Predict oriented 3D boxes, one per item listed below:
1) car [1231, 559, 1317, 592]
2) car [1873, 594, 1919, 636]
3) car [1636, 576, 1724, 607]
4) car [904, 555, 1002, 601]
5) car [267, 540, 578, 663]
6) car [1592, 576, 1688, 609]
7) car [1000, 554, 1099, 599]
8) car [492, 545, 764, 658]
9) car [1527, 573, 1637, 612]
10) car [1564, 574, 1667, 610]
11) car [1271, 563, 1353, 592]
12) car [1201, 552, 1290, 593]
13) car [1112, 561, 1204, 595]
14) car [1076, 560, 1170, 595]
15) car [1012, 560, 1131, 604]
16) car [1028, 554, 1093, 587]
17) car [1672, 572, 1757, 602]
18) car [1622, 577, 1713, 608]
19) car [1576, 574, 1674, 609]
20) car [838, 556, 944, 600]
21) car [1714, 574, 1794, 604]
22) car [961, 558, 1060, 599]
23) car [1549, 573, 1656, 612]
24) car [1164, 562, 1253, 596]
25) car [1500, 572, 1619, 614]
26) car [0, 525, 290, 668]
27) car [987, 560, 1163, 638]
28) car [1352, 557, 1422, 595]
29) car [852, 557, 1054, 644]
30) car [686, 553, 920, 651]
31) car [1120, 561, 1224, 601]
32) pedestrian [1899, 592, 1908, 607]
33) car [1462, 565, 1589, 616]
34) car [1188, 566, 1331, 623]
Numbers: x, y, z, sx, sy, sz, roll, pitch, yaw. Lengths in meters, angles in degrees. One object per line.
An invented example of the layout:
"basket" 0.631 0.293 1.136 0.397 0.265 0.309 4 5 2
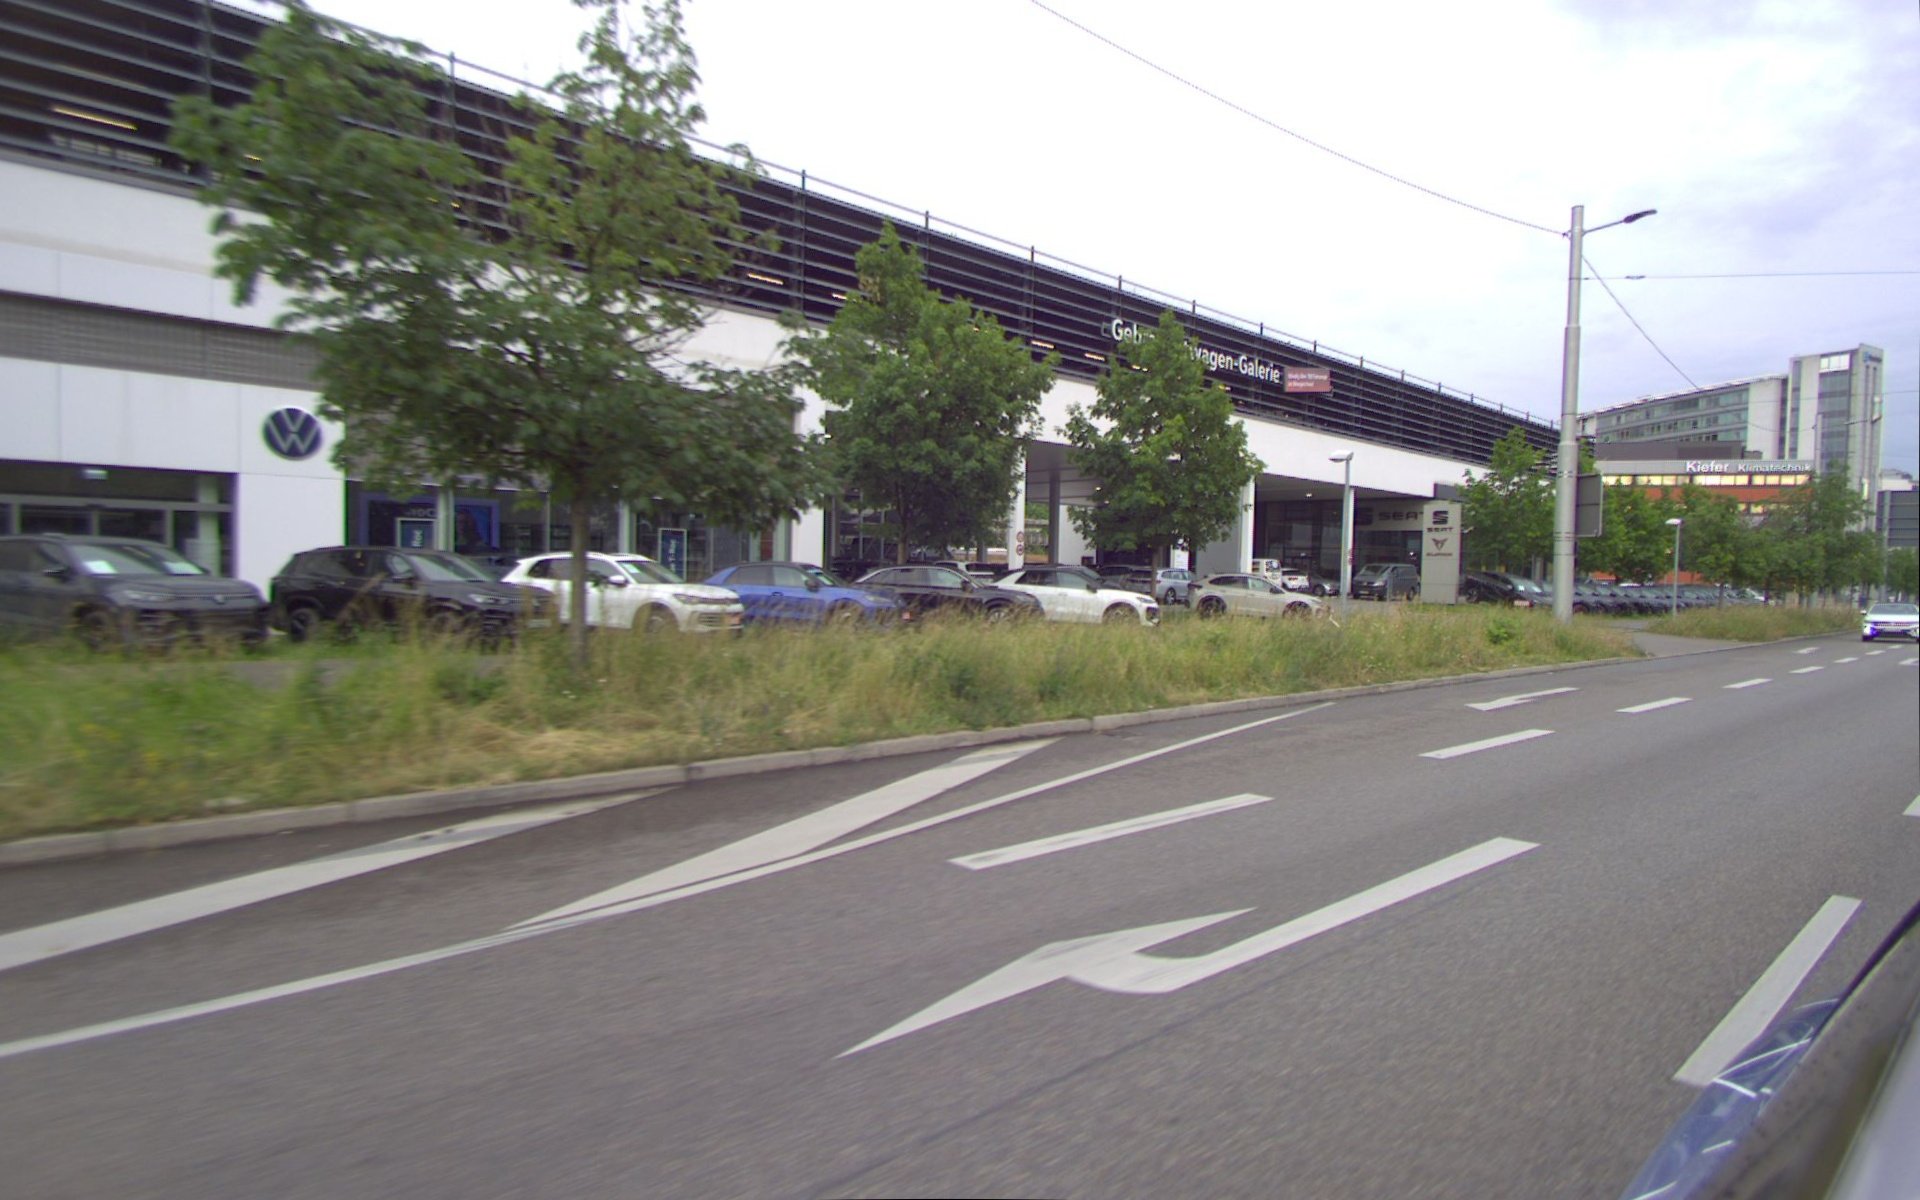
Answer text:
"car" 16.746 -1.321 54.141 1.872 1.652 3.994 0 3 -42
"car" 36.565 0.563 38.815 3.769 1.513 1.877 0 1 -41
"car" 43.216 -0.516 60.872 4.022 1.595 1.716 4 3 29
"car" -0.304 -0.867 38.927 1.611 1.607 3.822 0 3 -42
"car" -8.332 -0.064 15.735 4.317 1.587 1.790 3 4 18
"car" 37.291 -0.445 55.608 4.117 1.546 1.813 4 3 29
"car" 3.680 -0.950 42.052 1.857 1.750 3.995 0 0 -39
"car" -5.786 -0.053 17.696 4.299 1.645 1.846 3 4 19
"car" 29.441 -0.379 48.050 4.105 1.580 1.856 4 3 22
"car" 33.521 -0.443 51.901 4.108 1.588 1.812 4 3 24
"car" 19.977 -1.296 57.496 1.695 1.532 4.037 0 3 -44
"car" 14.813 -1.438 52.634 1.911 2.000 4.033 0 3 -42
"car" 9.317 -1.055 47.735 1.734 1.442 3.994 0 3 -42
"car" 7.383 -1.052 46.098 1.734 1.442 3.994 0 3 -42
"car" 4.187 -0.692 37.466 4.615 1.485 1.783 -1 5 -43
"car" 6.606 -1.946 66.325 4.029 2.038 1.997 -2 4 -42
"car" 50.624 -0.890 67.983 4.476 1.683 1.797 5 3 37
"car" 41.361 -0.477 59.284 4.117 1.552 1.776 4 3 29
"car" 35.365 -0.473 53.940 4.116 1.588 1.891 4 3 28
"car" -2.604 -0.841 37.623 3.812 1.469 1.709 3 3 40
"car" 60.317 -0.886 76.975 4.464 2.015 1.802 4 3 31
"car" 1.971 -0.820 40.443 1.754 1.527 3.995 0 0 -39
"car" 31.599 -0.398 49.892 4.108 1.624 1.812 4 3 24
"car" 12.552 -1.086 51.179 1.872 1.555 3.994 0 3 -42
"car" 27.324 -0.362 46.255 4.281 1.632 1.858 4 3 20
"car" -11.566 -0.149 13.657 4.567 1.587 1.842 3 4 19
"car" 2.815 -0.076 24.481 4.037 1.587 1.794 3 4 12
"car" 23.013 -1.278 54.479 4.355 1.962 1.889 0 2 -43
"car" -0.091 -0.046 21.825 4.120 1.587 1.796 2 3 8
"car" -3.016 -0.026 19.692 4.129 1.587 1.793 3 4 14
"car" 8.861 -0.817 42.132 4.617 1.485 1.897 -1 5 -43
"pedestrian" 122.648 -0.101 131.589 0.675 1.925 0.672 -1 0 26
"car" 24.310 -0.466 43.759 1.786 1.899 4.734 2 3 -18
"car" 9.174 -0.205 31.246 4.042 1.483 1.741 3 4 16
